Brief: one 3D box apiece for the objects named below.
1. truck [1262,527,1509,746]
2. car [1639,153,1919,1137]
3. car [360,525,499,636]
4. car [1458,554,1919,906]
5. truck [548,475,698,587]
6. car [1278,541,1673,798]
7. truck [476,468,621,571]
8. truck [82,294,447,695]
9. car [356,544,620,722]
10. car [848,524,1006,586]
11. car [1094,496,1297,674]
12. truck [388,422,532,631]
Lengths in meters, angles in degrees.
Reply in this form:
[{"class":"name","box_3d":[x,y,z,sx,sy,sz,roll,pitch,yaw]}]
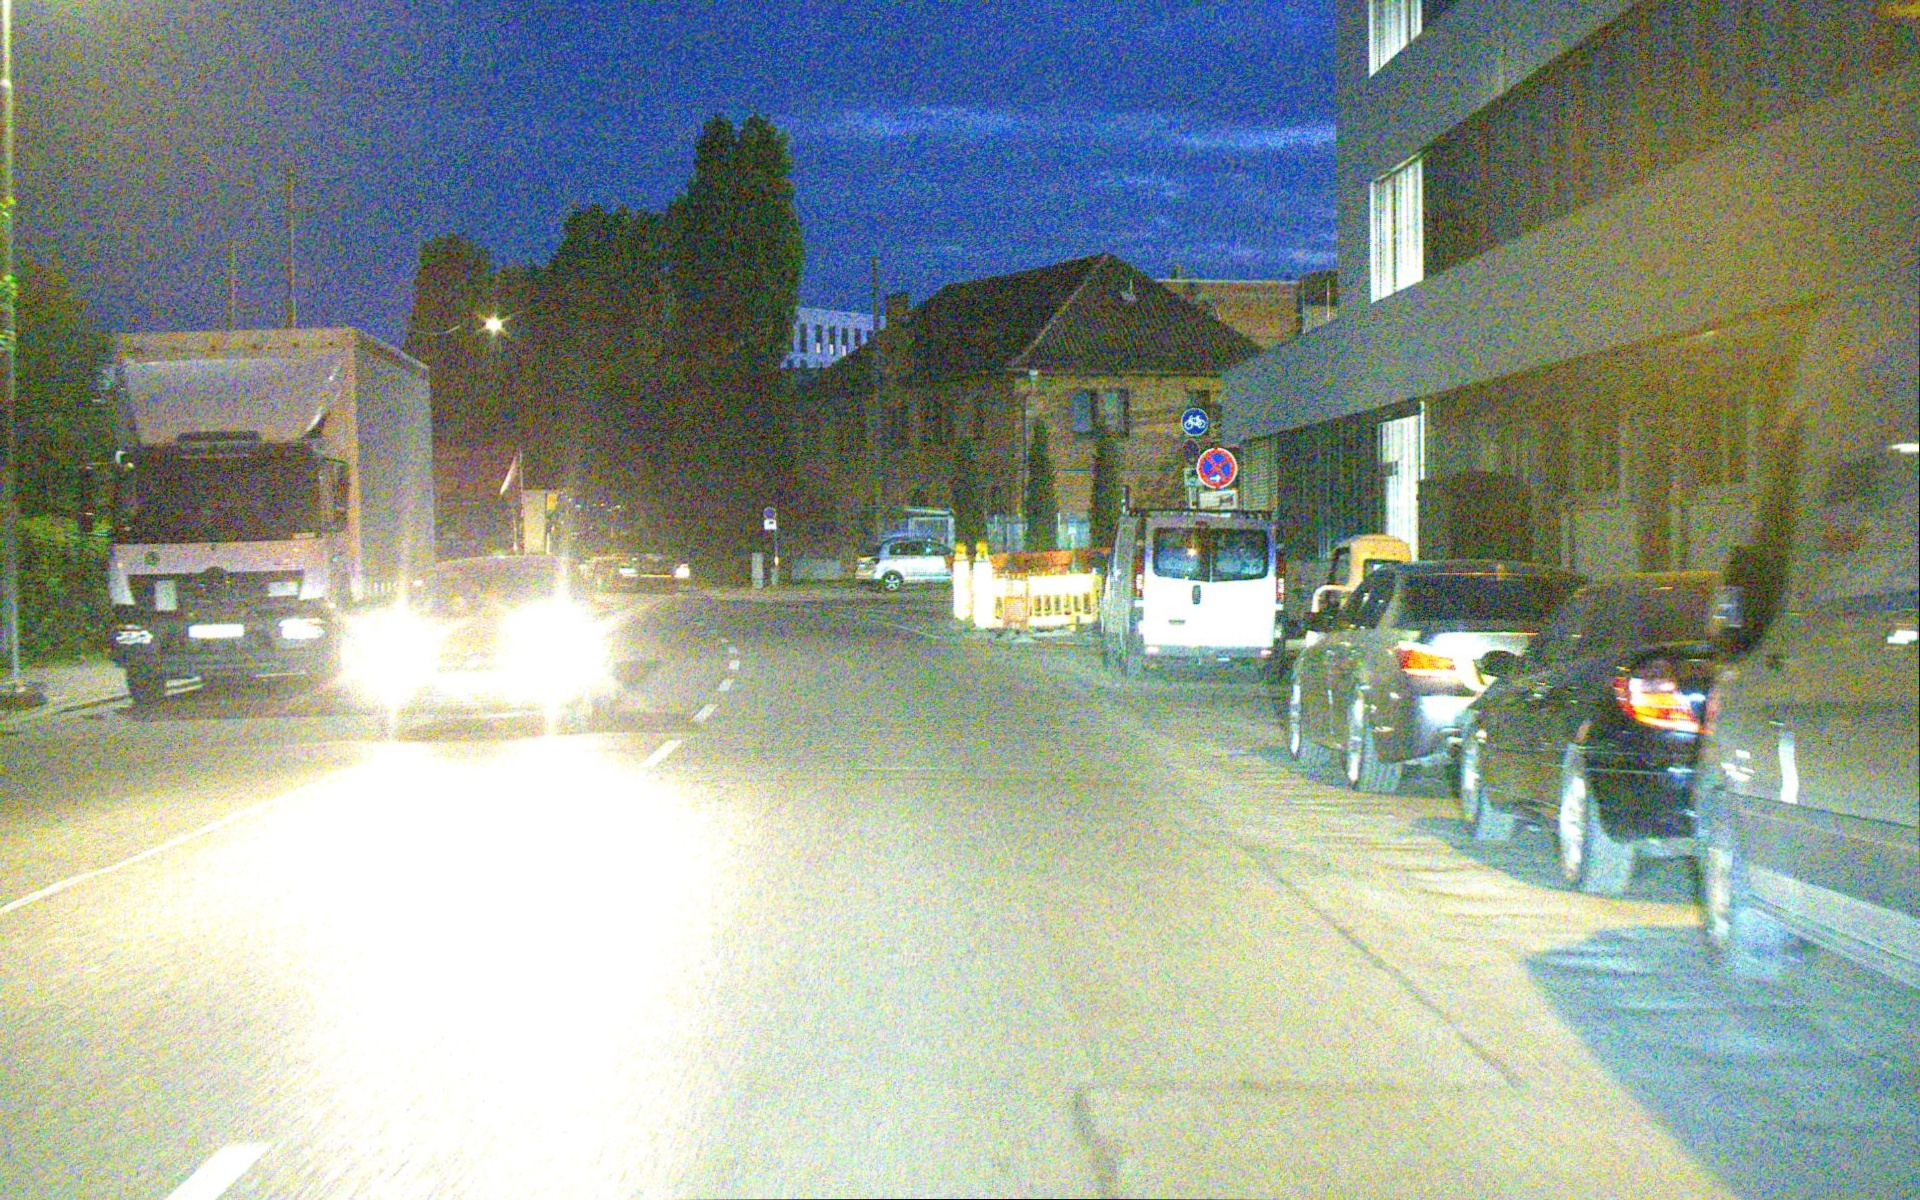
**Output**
[{"class":"truck","box_3d":[3.382,0.248,27.853,1.370,1.639,3.813,0,1,-2]},{"class":"car","box_3d":[3.509,0.106,10.008,1.994,2.517,5.909,2,1,2]},{"class":"car","box_3d":[-8.690,-0.350,56.668,1.943,1.711,5.199,-1,1,-6]},{"class":"car","box_3d":[3.555,0.505,16.430,1.769,1.407,4.550,0,1,1]},{"class":"truck","box_3d":[-11.932,-2.392,120.970,2.754,3.770,9.139,-1,1,-22]},{"class":"car","box_3d":[3.270,0.371,22.772,1.946,1.484,5.010,0,1,1]},{"class":"truck","box_3d":[-15.720,-3.009,130.518,2.754,3.770,10.228,-1,1,-23]},{"class":"truck","box_3d":[-7.694,-1.135,39.319,2.746,4.020,9.562,0,1,-3]},{"class":"car","box_3d":[-3.976,0.236,29.557,1.857,1.415,4.000,0,1,-2]},{"class":"car","box_3d":[-1.001,-1.376,104.332,4.325,1.640,1.893,-4,2,-23]},{"class":"car","box_3d":[2.791,-0.215,41.790,1.993,2.007,4.912,-1,1,-1]},{"class":"truck","box_3d":[-10.582,-1.524,72.629,2.772,4.106,9.344,-1,1,-8]}]
